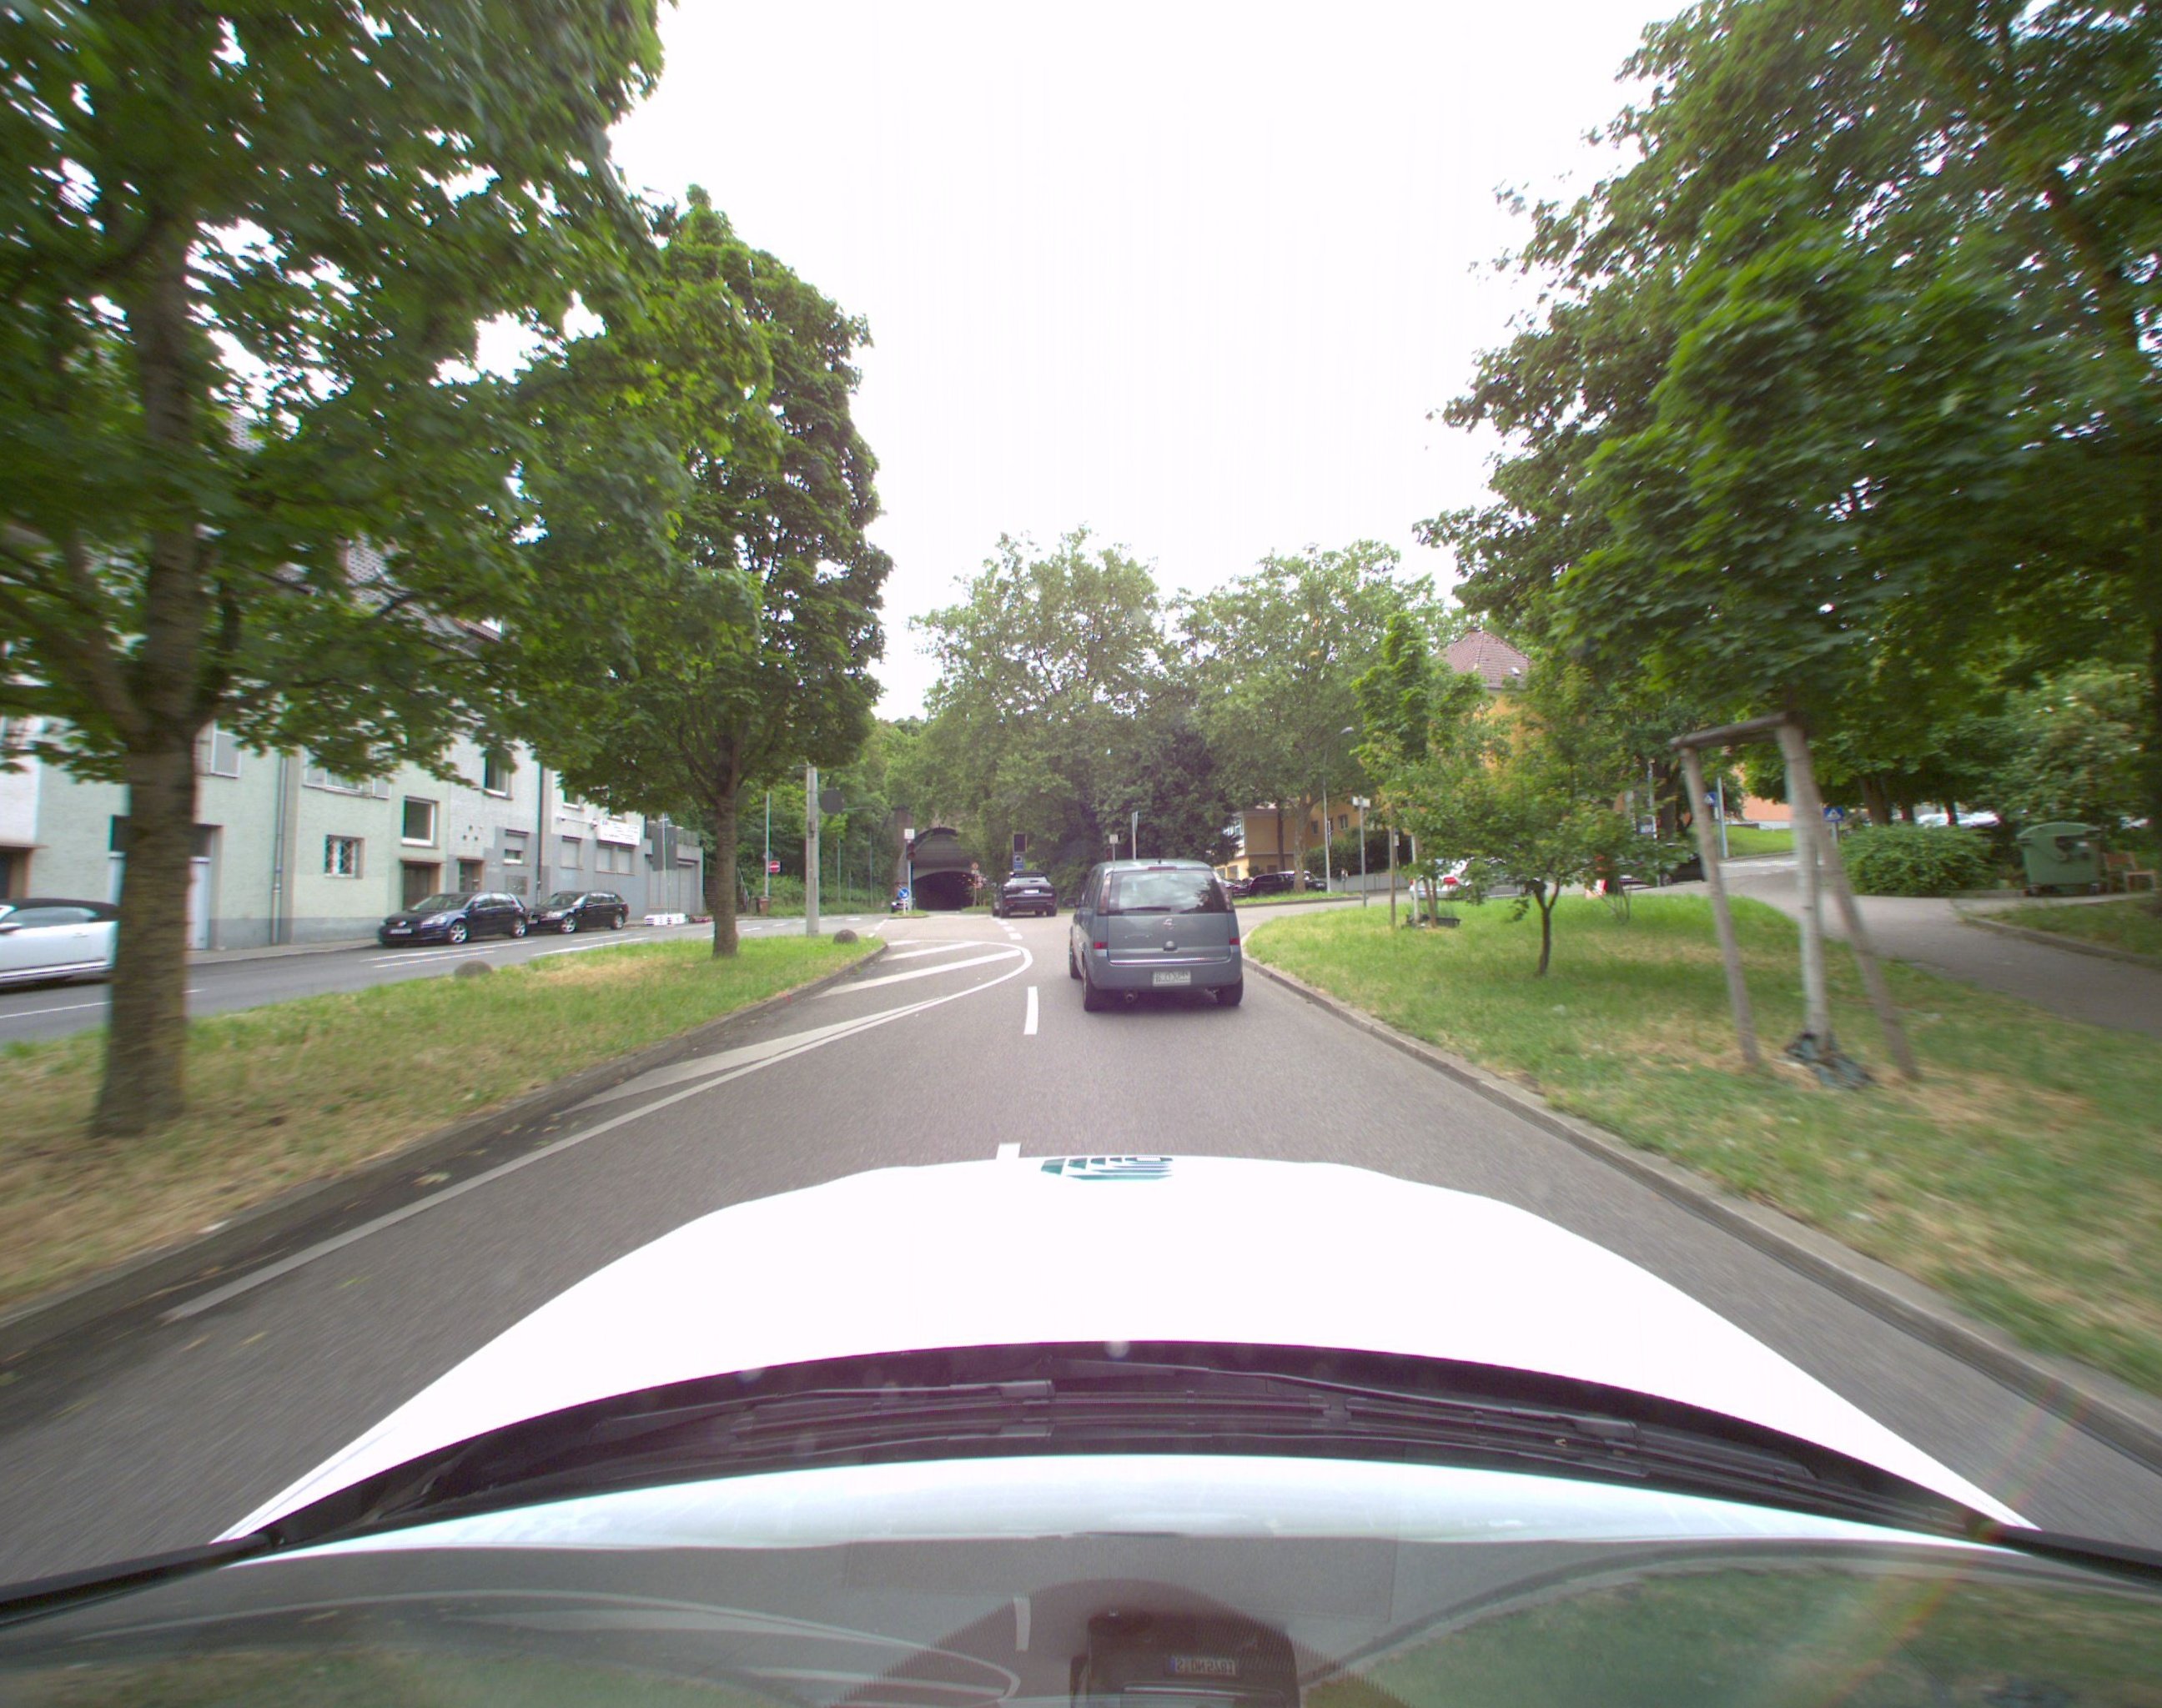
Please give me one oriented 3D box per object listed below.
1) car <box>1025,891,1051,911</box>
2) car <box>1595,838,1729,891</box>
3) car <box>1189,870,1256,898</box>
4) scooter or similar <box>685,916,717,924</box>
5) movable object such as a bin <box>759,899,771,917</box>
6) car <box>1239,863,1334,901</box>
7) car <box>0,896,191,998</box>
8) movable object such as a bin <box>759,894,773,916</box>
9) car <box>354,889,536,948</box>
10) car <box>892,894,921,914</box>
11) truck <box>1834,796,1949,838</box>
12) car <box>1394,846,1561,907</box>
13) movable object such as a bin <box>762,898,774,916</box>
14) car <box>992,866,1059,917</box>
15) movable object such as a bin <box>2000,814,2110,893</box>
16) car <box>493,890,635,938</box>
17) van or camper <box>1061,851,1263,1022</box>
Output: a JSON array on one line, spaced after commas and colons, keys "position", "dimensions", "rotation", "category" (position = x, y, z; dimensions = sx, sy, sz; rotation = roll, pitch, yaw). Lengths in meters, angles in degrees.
[{"position": [-3.511, 3.822, 65.746], "dimensions": [1.783, 1.442, 5.050], "rotation": [-2, -3, -6], "category": "car"}, {"position": [18.769, 0.324, 26.272], "dimensions": [4.140, 1.428, 1.722], "rotation": [-2, -3, -27], "category": "car"}, {"position": [9.047, 1.990, 52.433], "dimensions": [2.001, 1.578, 4.870], "rotation": [-2, -3, -20], "category": "car"}, {"position": [-16.844, 2.923, 36.160], "dimensions": [1.126, 0.288, 1.093], "rotation": [-2, -3, -16], "category": "scooter or similar"}, {"position": [-17.318, 2.967, 44.583], "dimensions": [0.517, 0.968, 0.442], "rotation": [2, -4, -16], "category": "movable object such as a bin"}, {"position": [10.939, 1.496, 43.428], "dimensions": [4.369, 1.485, 1.875], "rotation": [-8, -3, 31], "category": "car"}, {"position": [-17.436, 1.496, 12.947], "dimensions": [1.987, 1.474, 4.156], "rotation": [-2, -1, 0], "category": "car"}, {"position": [-17.462, 2.832, 45.158], "dimensions": [0.606, 1.186, 0.489], "rotation": [2, -4, -16], "category": "movable object such as a bin"}, {"position": [-17.603, 1.743, 22.853], "dimensions": [1.990, 1.423, 4.204], "rotation": [-2, -3, -4], "category": "car"}, {"position": [-16.088, 4.583, 75.183], "dimensions": [1.866, 1.699, 4.928], "rotation": [-2, -3, -3], "category": "car"}, {"position": [62.208, -2.789, 62.691], "dimensions": [1.996, 2.732, 5.969], "rotation": [-2, -2, -14], "category": "truck"}, {"position": [11.139, 0.593, 22.904], "dimensions": [4.130, 1.428, 1.850], "rotation": [-2, 0, -20], "category": "car"}, {"position": [-17.929, 3.019, 46.717], "dimensions": [0.556, 1.025, 0.428], "rotation": [2, -4, -16], "category": "movable object such as a bin"}, {"position": [-2.087, 1.345, 29.681], "dimensions": [1.994, 1.653, 3.986], "rotation": [-2, -2, -10], "category": "car"}, {"position": [19.358, 0.006, 16.196], "dimensions": [1.087, 1.451, 1.229], "rotation": [-1, -3, -35], "category": "movable object such as a bin"}, {"position": [-17.538, 1.997, 27.950], "dimensions": [1.987, 1.400, 4.516], "rotation": [-2, -2, 0], "category": "car"}, {"position": [0.761, 0.826, 9.827], "dimensions": [1.732, 1.578, 3.639], "rotation": [-3, -1, -5], "category": "van or camper"}]
